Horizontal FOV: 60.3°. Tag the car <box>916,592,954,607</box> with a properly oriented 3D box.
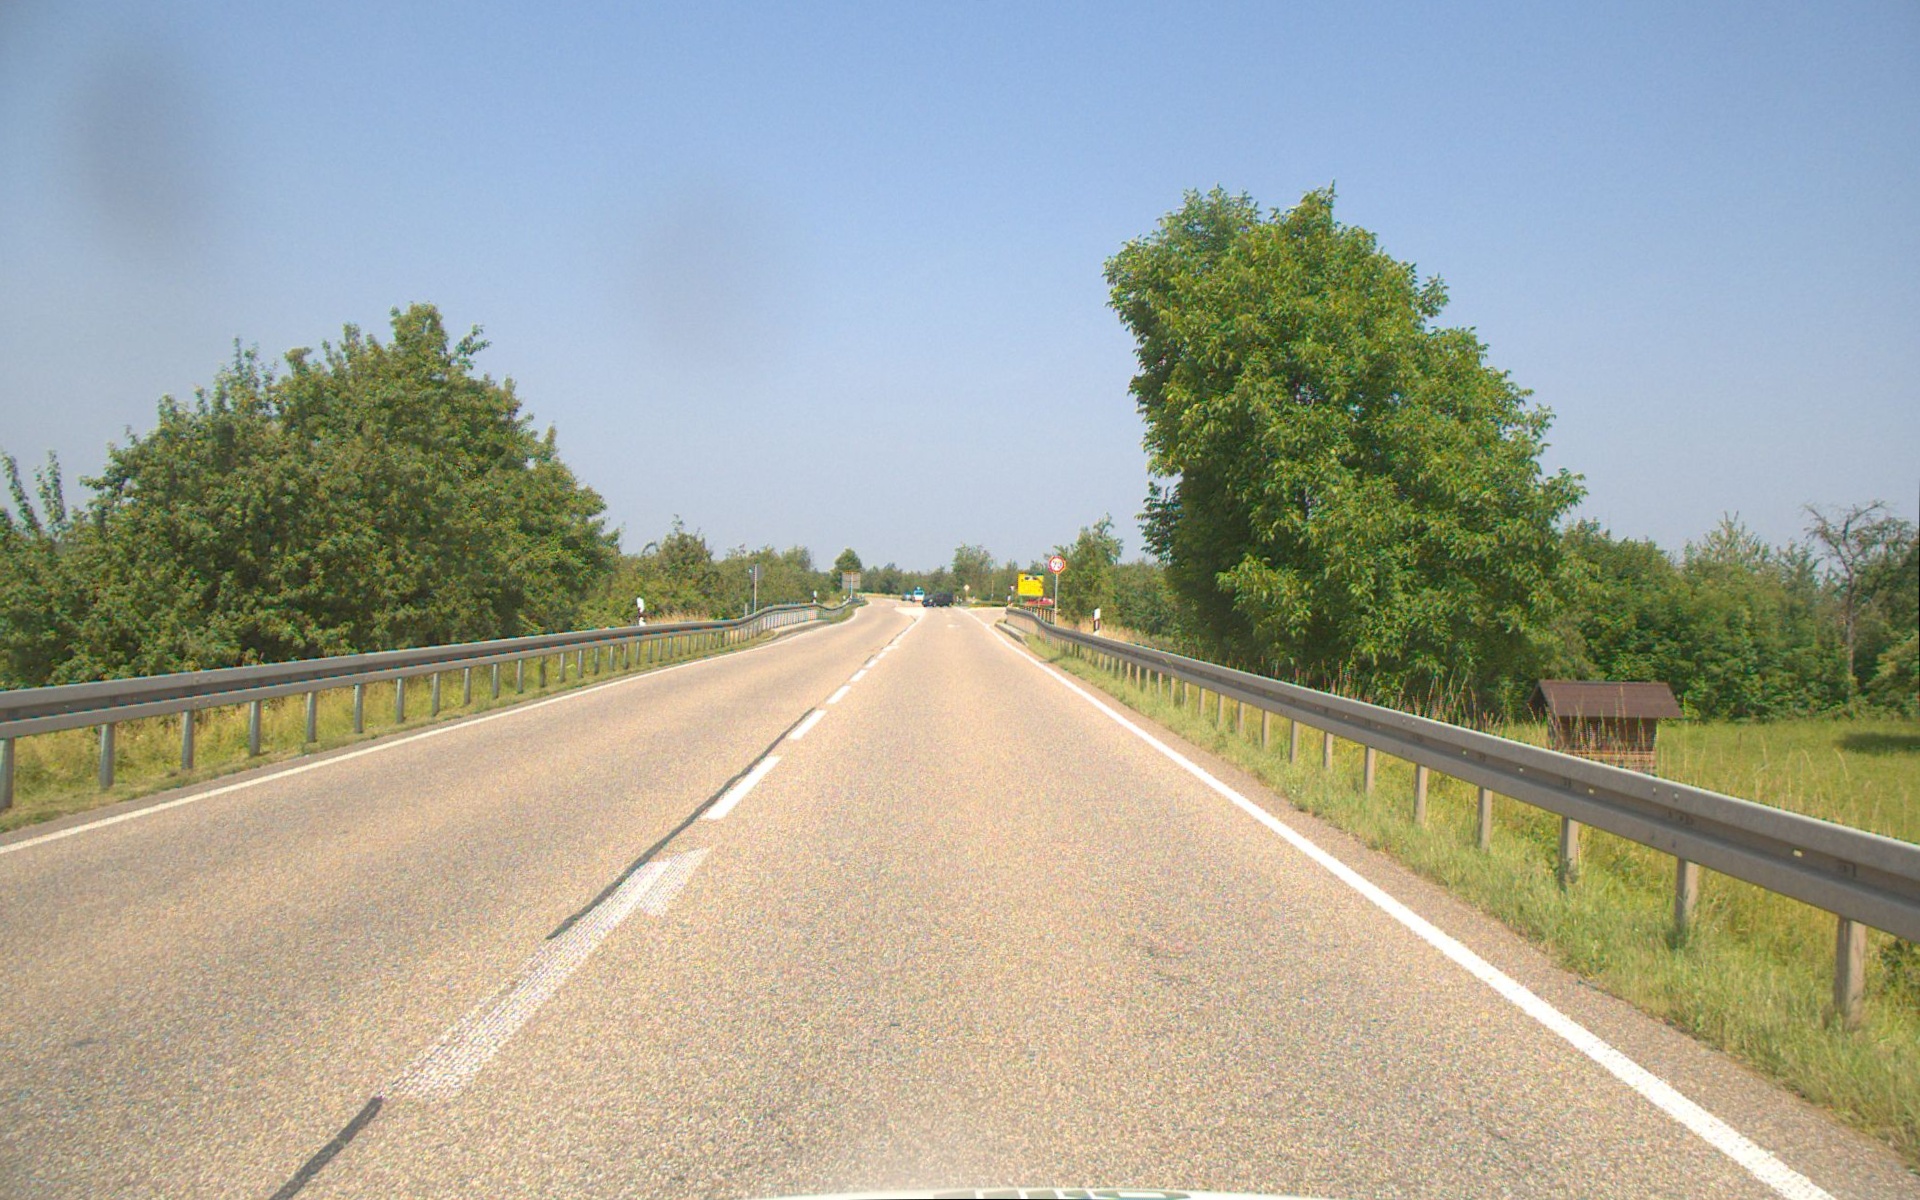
[{"bbox_3d":[-2.900,-0.049,195.779,1.776,1.666,4.783,1,0,40],"label":"car"}]
